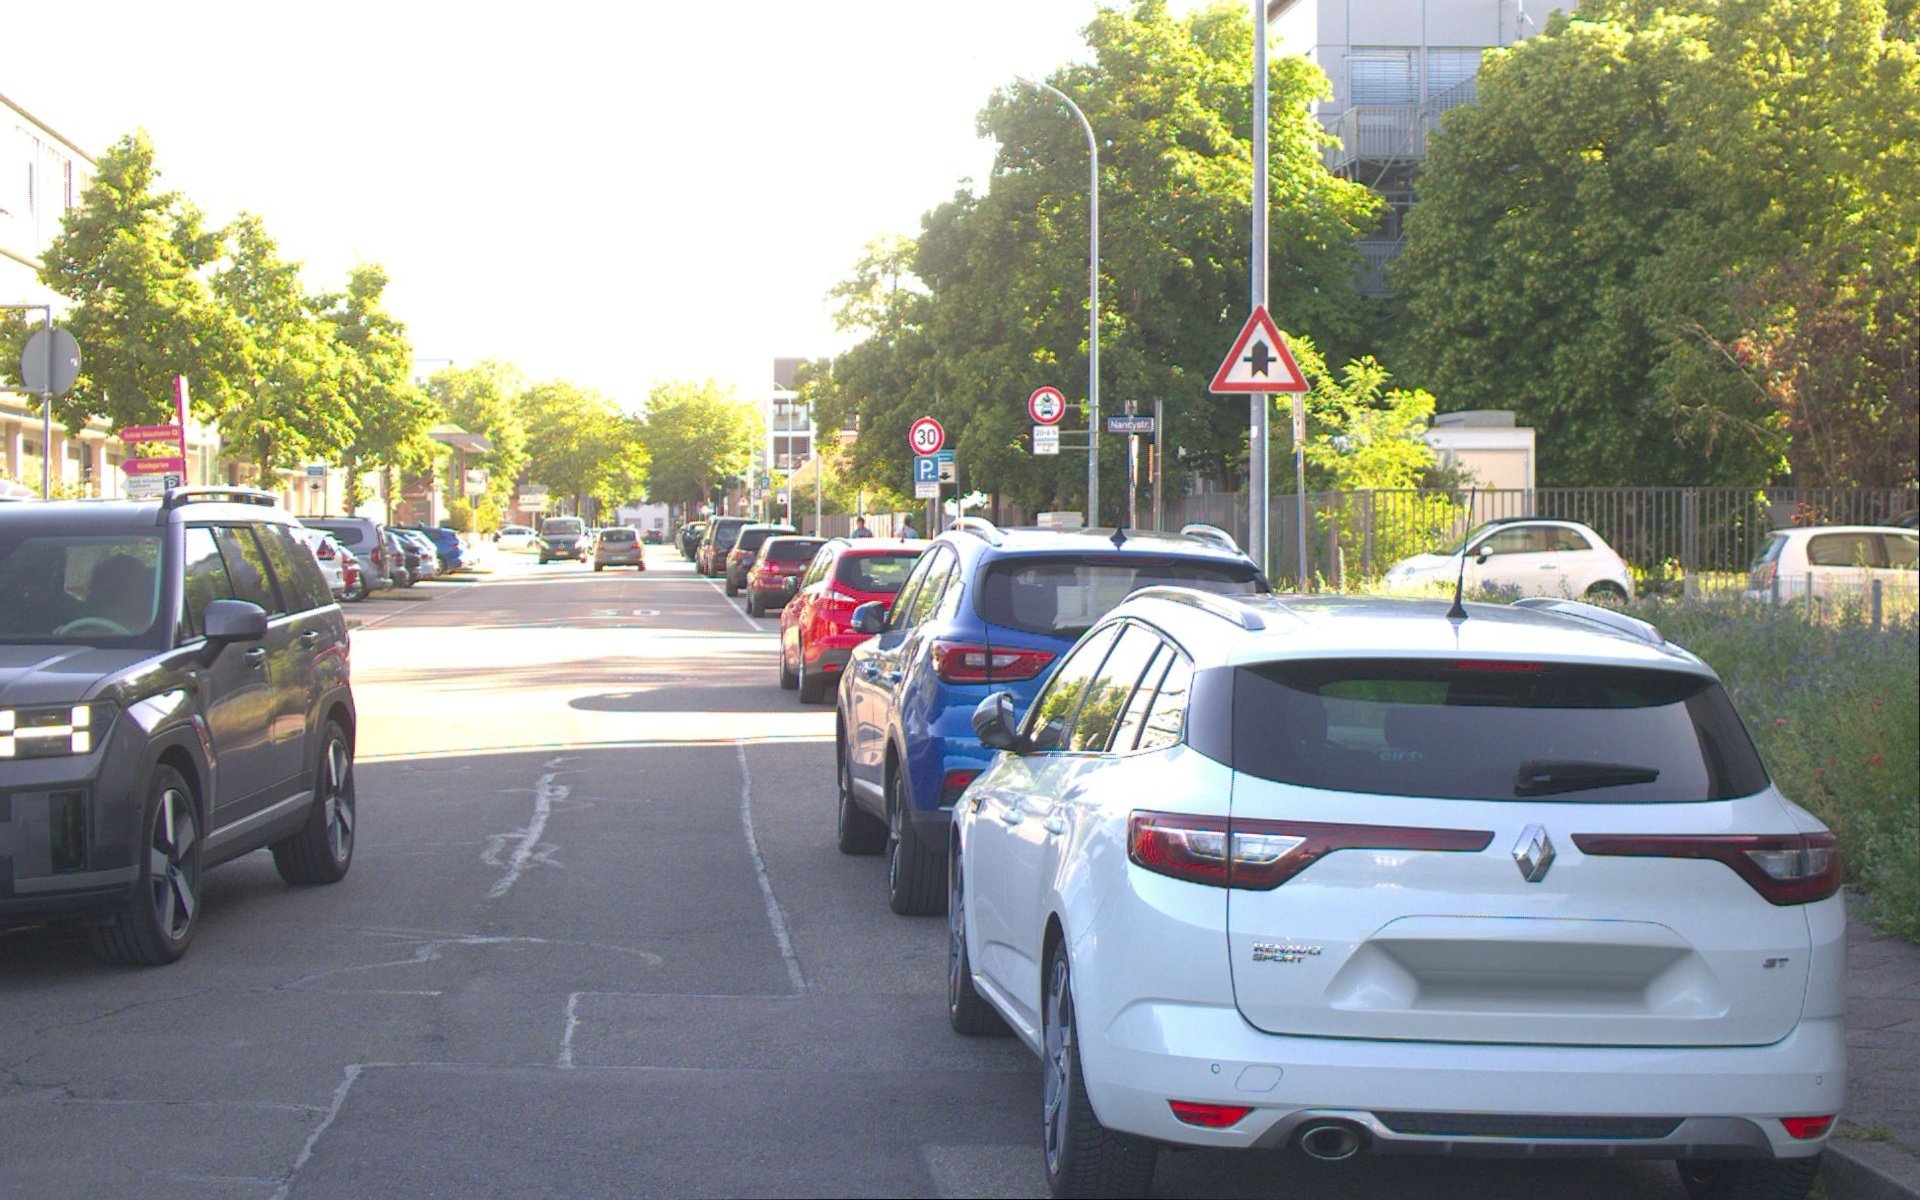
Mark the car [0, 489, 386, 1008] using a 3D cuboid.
[{"bbox_3d":[-3.748,0.446,13.860,1.942,1.721,4.838,-1,1,1],"label":"car"}]

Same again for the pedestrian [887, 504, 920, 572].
[{"bbox_3d":[-1.398,-1.525,85.075,0.698,1.655,0.752,-2,1,-5],"label":"pedestrian"}]

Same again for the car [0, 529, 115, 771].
[{"bbox_3d":[-7.146,0.262,24.099,1.695,1.508,4.518,2,1,-5],"label":"car"}]

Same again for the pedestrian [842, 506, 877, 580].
[{"bbox_3d":[-2.441,-1.396,83.442,0.717,1.752,0.885,-2,2,-4],"label":"pedestrian"}]

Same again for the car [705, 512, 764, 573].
[{"bbox_3d":[-6.909,-1.763,105.031,1.732,1.824,3.906,0,1,-5],"label":"car"}]

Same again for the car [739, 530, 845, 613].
[{"bbox_3d":[-3.176,-0.556,64.206,1.719,1.450,4.653,1,1,-6],"label":"car"}]

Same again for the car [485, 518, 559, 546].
[{"bbox_3d":[-24.356,-3.796,191.400,3.986,1.514,2.000,0,0,-5],"label":"car"}]

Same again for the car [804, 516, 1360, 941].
[{"bbox_3d":[0.371,0.447,15.509,1.816,1.594,4.628,1,1,-6],"label":"car"}]

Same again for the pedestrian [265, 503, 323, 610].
[{"bbox_3d":[-11.593,-0.761,59.854,0.857,1.836,0.826,2,1,-3],"label":"pedestrian"}]

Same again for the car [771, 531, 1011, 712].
[{"bbox_3d":[-0.712,0.144,31.818,1.818,1.494,4.453,1,1,-6],"label":"car"}]

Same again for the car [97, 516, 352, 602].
[{"bbox_3d":[-14.327,-0.799,67.153,4.611,1.645,1.868,0,1,-2],"label":"car"}]

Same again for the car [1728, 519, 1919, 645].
[{"bbox_3d":[10.950,-0.227,40.709,3.326,1.453,1.715,0,1,0],"label":"car"}]

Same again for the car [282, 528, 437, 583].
[{"bbox_3d":[-15.860,-1.191,90.940,3.986,1.354,1.744,1,1,-9],"label":"car"}]

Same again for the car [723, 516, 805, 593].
[{"bbox_3d":[-4.599,-1.087,80.180,1.812,1.660,4.593,1,2,-4],"label":"car"}]

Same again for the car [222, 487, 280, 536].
[{"bbox_3d":[-30.081,-3.744,145.892,1.993,2.007,4.001,0,0,-5],"label":"car"}]

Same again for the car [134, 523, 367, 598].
[{"bbox_3d":[-14.368,-0.799,69.795,4.433,1.496,1.828,0,1,-5],"label":"car"}]

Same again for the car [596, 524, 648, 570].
[{"bbox_3d":[-11.557,-1.838,117.627,1.743,1.538,4.001,0,1,-5],"label":"car"}]

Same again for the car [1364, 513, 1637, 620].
[{"bbox_3d":[7.639,-0.486,48.725,3.546,1.481,1.601,0,1,-4],"label":"car"}]

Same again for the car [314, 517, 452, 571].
[{"bbox_3d":[-18.092,-1.761,107.989,4.213,1.597,1.872,1,1,-9],"label":"car"}]

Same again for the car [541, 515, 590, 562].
[{"bbox_3d":[-16.251,-2.537,141.432,1.954,1.861,5.256,0,1,-7],"label":"car"}]

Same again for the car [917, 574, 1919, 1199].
[{"bbox_3d":[0.931,0.698,9.324,1.744,1.424,4.587,2,1,-5],"label":"car"}]

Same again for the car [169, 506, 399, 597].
[{"bbox_3d":[-14.787,-1.080,75.423,4.741,1.858,1.828,1,1,-5],"label":"car"}]

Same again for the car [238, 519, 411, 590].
[{"bbox_3d":[-15.202,-1.107,82.410,3.986,1.601,1.872,1,1,-9],"label":"car"}]
